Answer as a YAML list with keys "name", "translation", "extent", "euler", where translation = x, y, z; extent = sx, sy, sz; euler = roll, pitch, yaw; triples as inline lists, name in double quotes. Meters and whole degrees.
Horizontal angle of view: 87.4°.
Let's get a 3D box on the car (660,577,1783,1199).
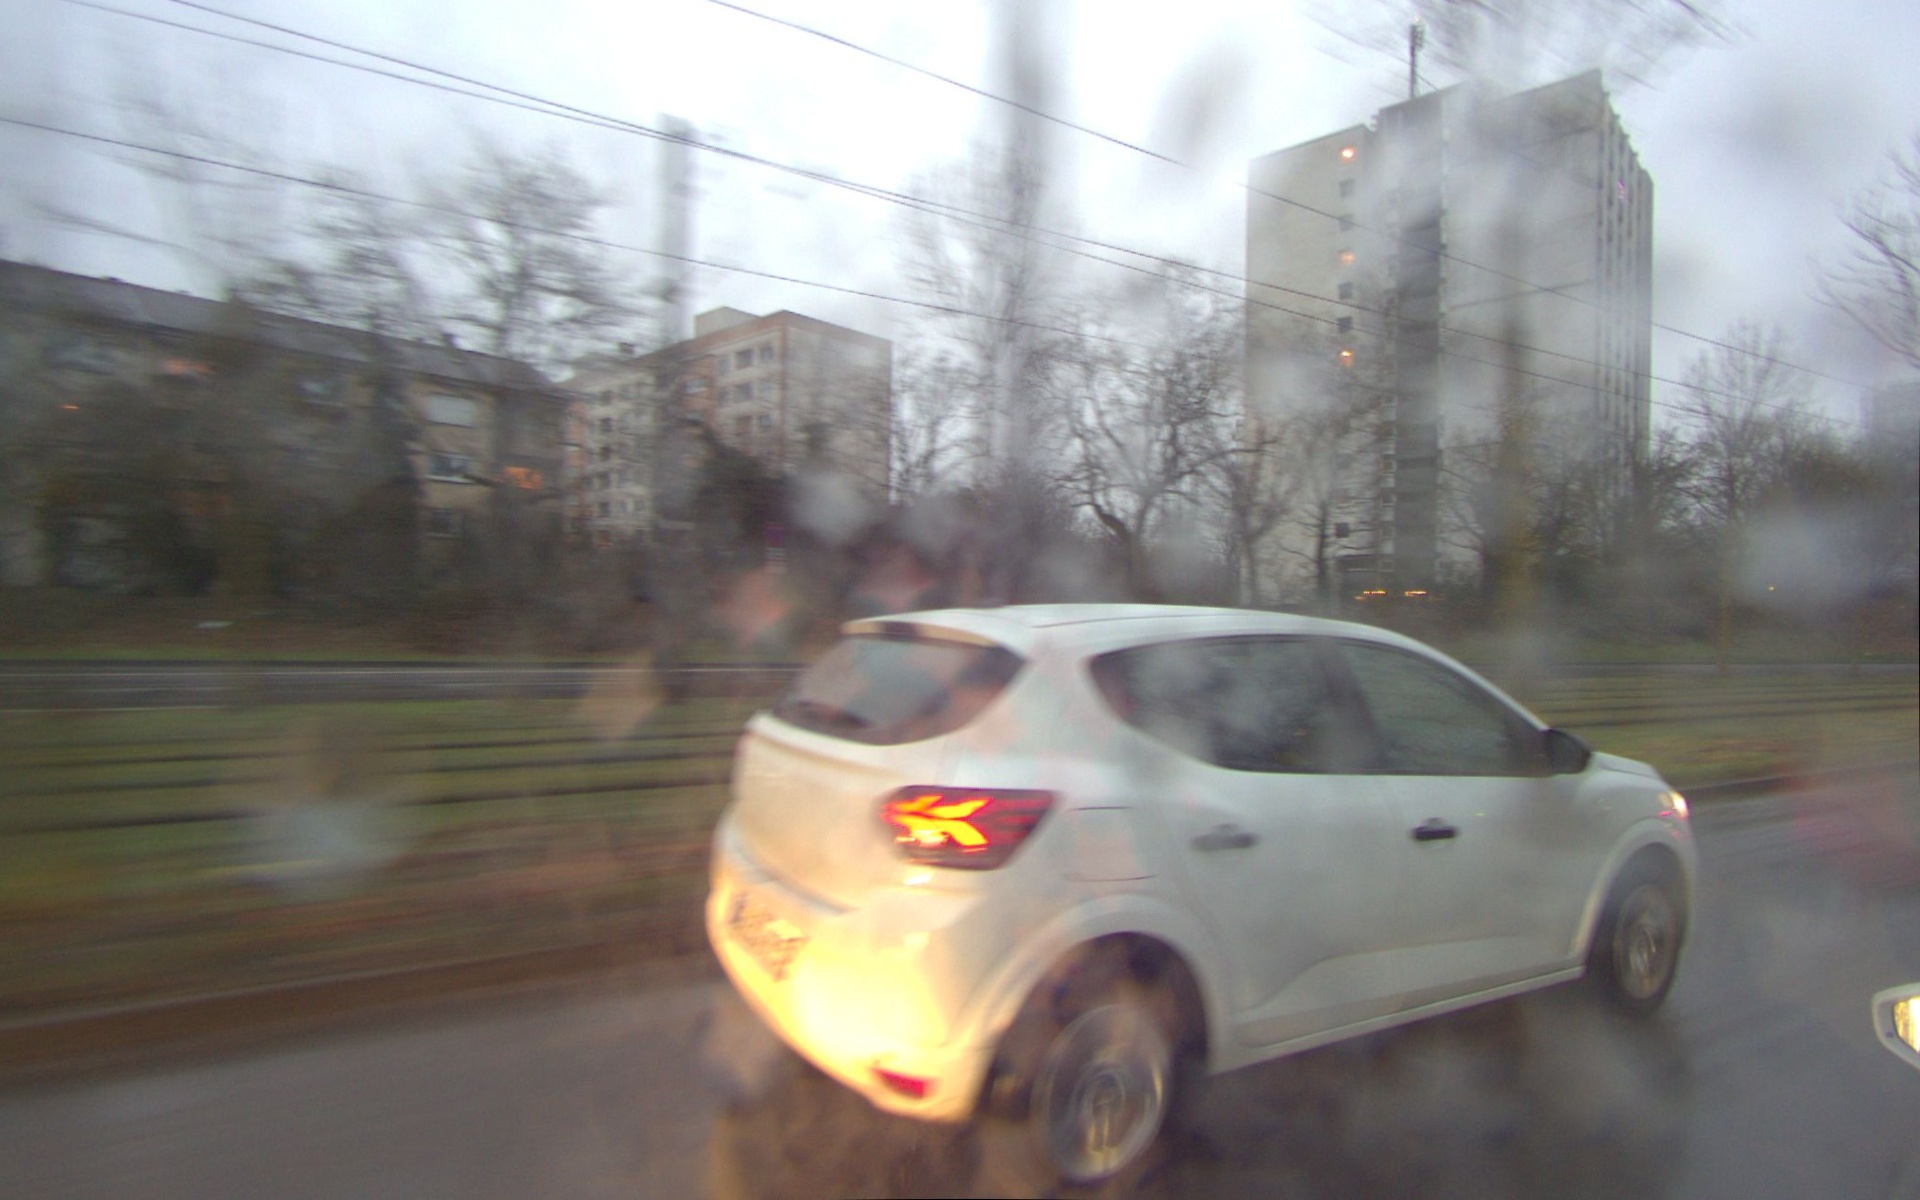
- name: "car"
  translation: [1.140, 0.783, 3.805]
  extent: [4.085, 1.545, 1.701]
  euler: [2, -1, -29]
